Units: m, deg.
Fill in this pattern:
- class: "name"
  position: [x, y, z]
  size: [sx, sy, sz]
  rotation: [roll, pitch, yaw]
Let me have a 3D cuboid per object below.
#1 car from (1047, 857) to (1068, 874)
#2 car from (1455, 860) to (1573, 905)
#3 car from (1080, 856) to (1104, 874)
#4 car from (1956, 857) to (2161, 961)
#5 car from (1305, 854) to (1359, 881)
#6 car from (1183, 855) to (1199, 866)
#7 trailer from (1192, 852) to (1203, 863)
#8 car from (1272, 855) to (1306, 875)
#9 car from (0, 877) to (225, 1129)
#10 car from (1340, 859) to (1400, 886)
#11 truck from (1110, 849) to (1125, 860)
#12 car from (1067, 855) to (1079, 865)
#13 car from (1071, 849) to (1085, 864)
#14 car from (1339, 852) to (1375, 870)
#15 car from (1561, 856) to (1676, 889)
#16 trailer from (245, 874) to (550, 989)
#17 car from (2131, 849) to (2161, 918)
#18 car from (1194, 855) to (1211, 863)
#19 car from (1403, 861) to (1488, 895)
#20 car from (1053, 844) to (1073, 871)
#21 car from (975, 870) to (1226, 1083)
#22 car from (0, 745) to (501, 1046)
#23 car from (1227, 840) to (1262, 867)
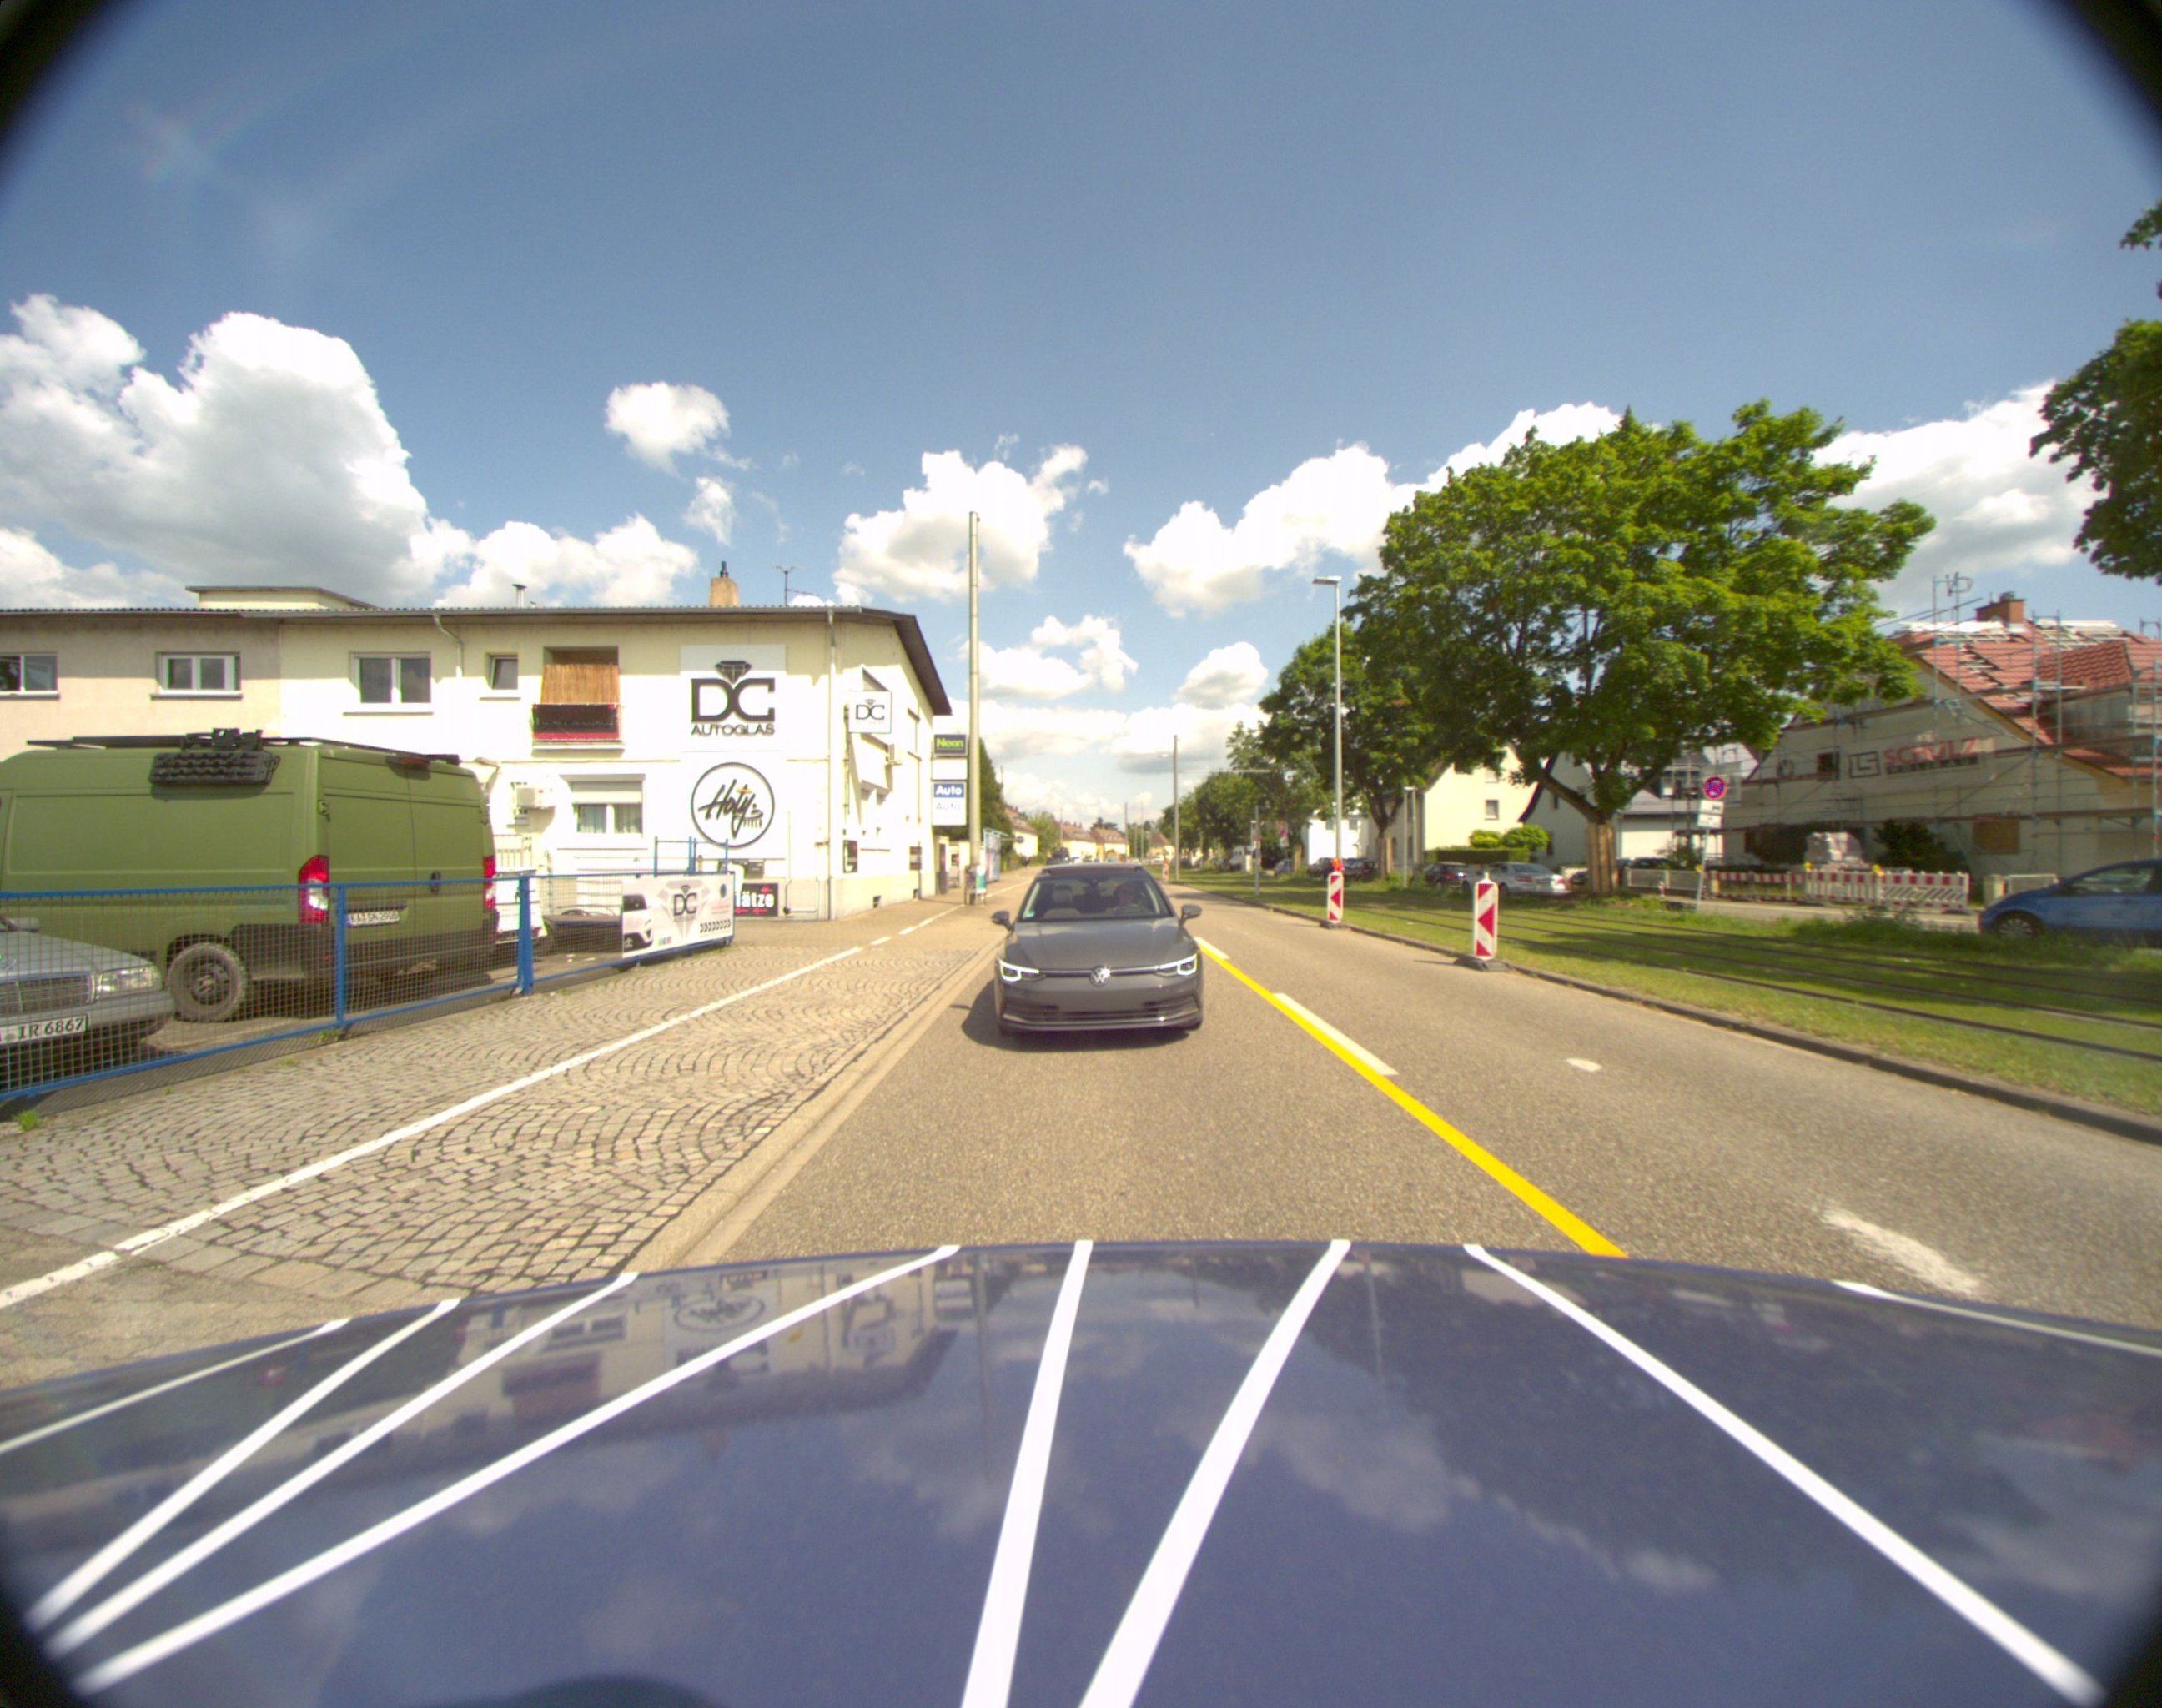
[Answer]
- class: "car"
  position: [-2.174, 1.076, 71.018]
  size: [1.655, 1.423, 4.096]
  rotation: [1, 1, 2]
- class: "car"
  position: [16.500, 1.036, 29.294]
  size: [1.809, 1.474, 4.939]
  rotation: [1, 1, 1]
- class: "car"
  position: [1.045, 0.962, 68.435]
  size: [1.998, 1.566, 4.001]
  rotation: [0, 0, 3]
- class: "car"
  position: [16.367, 0.798, 11.312]
  size: [1.999, 1.445, 3.999]
  rotation: [1, 1, -1]
- class: "car"
  position: [16.715, 0.870, 50.882]
  size: [1.999, 1.681, 4.390]
  rotation: [0, 1, -3]
- class: "car"
  position: [17.782, 1.025, 122.840]
  size: [1.910, 1.568, 4.102]
  rotation: [3, -1, 2]
- class: "trailer"
  position: [17.220, 0.493, 112.681]
  size: [1.302, 1.510, 2.282]
  rotation: [1, 0, 0]
- class: "car"
  position: [16.649, 0.857, 60.922]
  size: [1.758, 1.427, 3.889]
  rotation: [1, 1, 3]
- class: "car"
  position: [-8.371, 0.891, 4.835]
  size: [4.191, 1.423, 1.821]
  rotation: [0, 1, 8]
- class: "car"
  position: [16.975, 1.041, 44.800]
  size: [1.998, 1.430, 3.999]
  rotation: [1, 1, 0]
- class: "truck"
  position: [9.754, 0.101, 201.068]
  size: [2.529, 2.931, 7.869]
  rotation: [1, 1, 14]
- class: "car"
  position: [-1.212, 0.967, 122.986]
  size: [1.756, 1.480, 4.627]
  rotation: [1, 0, 1]
- class: "car"
  position: [-0.465, 0.430, 136.328]
  size: [1.923, 2.522, 5.346]
  rotation: [1, 0, 5]
- class: "car"
  position: [25.427, 0.659, 70.230]
  size: [1.907, 1.568, 4.000]
  rotation: [1, 1, 1]
- class: "car"
  position: [25.072, 0.825, 35.553]
  size: [3.997, 1.393, 1.982]
  rotation: [-1, 1, 1]
- class: "trailer"
  position: [-8.723, 0.953, 9.840]
  size: [2.789, 1.325, 1.303]
  rotation: [0, 1, 1]
- class: "car"
  position: [28.211, 0.749, 18.129]
  size: [3.656, 1.674, 1.873]
  rotation: [1, 1, 0]
- class: "car"
  position: [17.170, 0.667, 107.304]
  size: [1.785, 1.087, 3.836]
  rotation: [1, 1, 0]
- class: "car"
  position: [16.509, 1.053, 34.676]
  size: [1.998, 1.310, 3.852]
  rotation: [2, 1, 0]
- class: "car"
  position: [-1.910, 0.331, 81.838]
  size: [2.001, 2.744, 4.878]
  rotation: [1, 0, 1]
- class: "car"
  position: [0.115, 0.942, 7.709]
  size: [1.786, 1.412, 4.289]
  rotation: [-2, 0, -1]
- class: "car"
  position: [-8.898, 0.353, 7.613]
  size: [4.547, 2.558, 2.151]
  rotation: [0, 1, 2]
- class: "car"
  position: [16.822, -0.035, 78.547]
  size: [1.999, 2.714, 6.461]
  rotation: [1, 0, -1]
